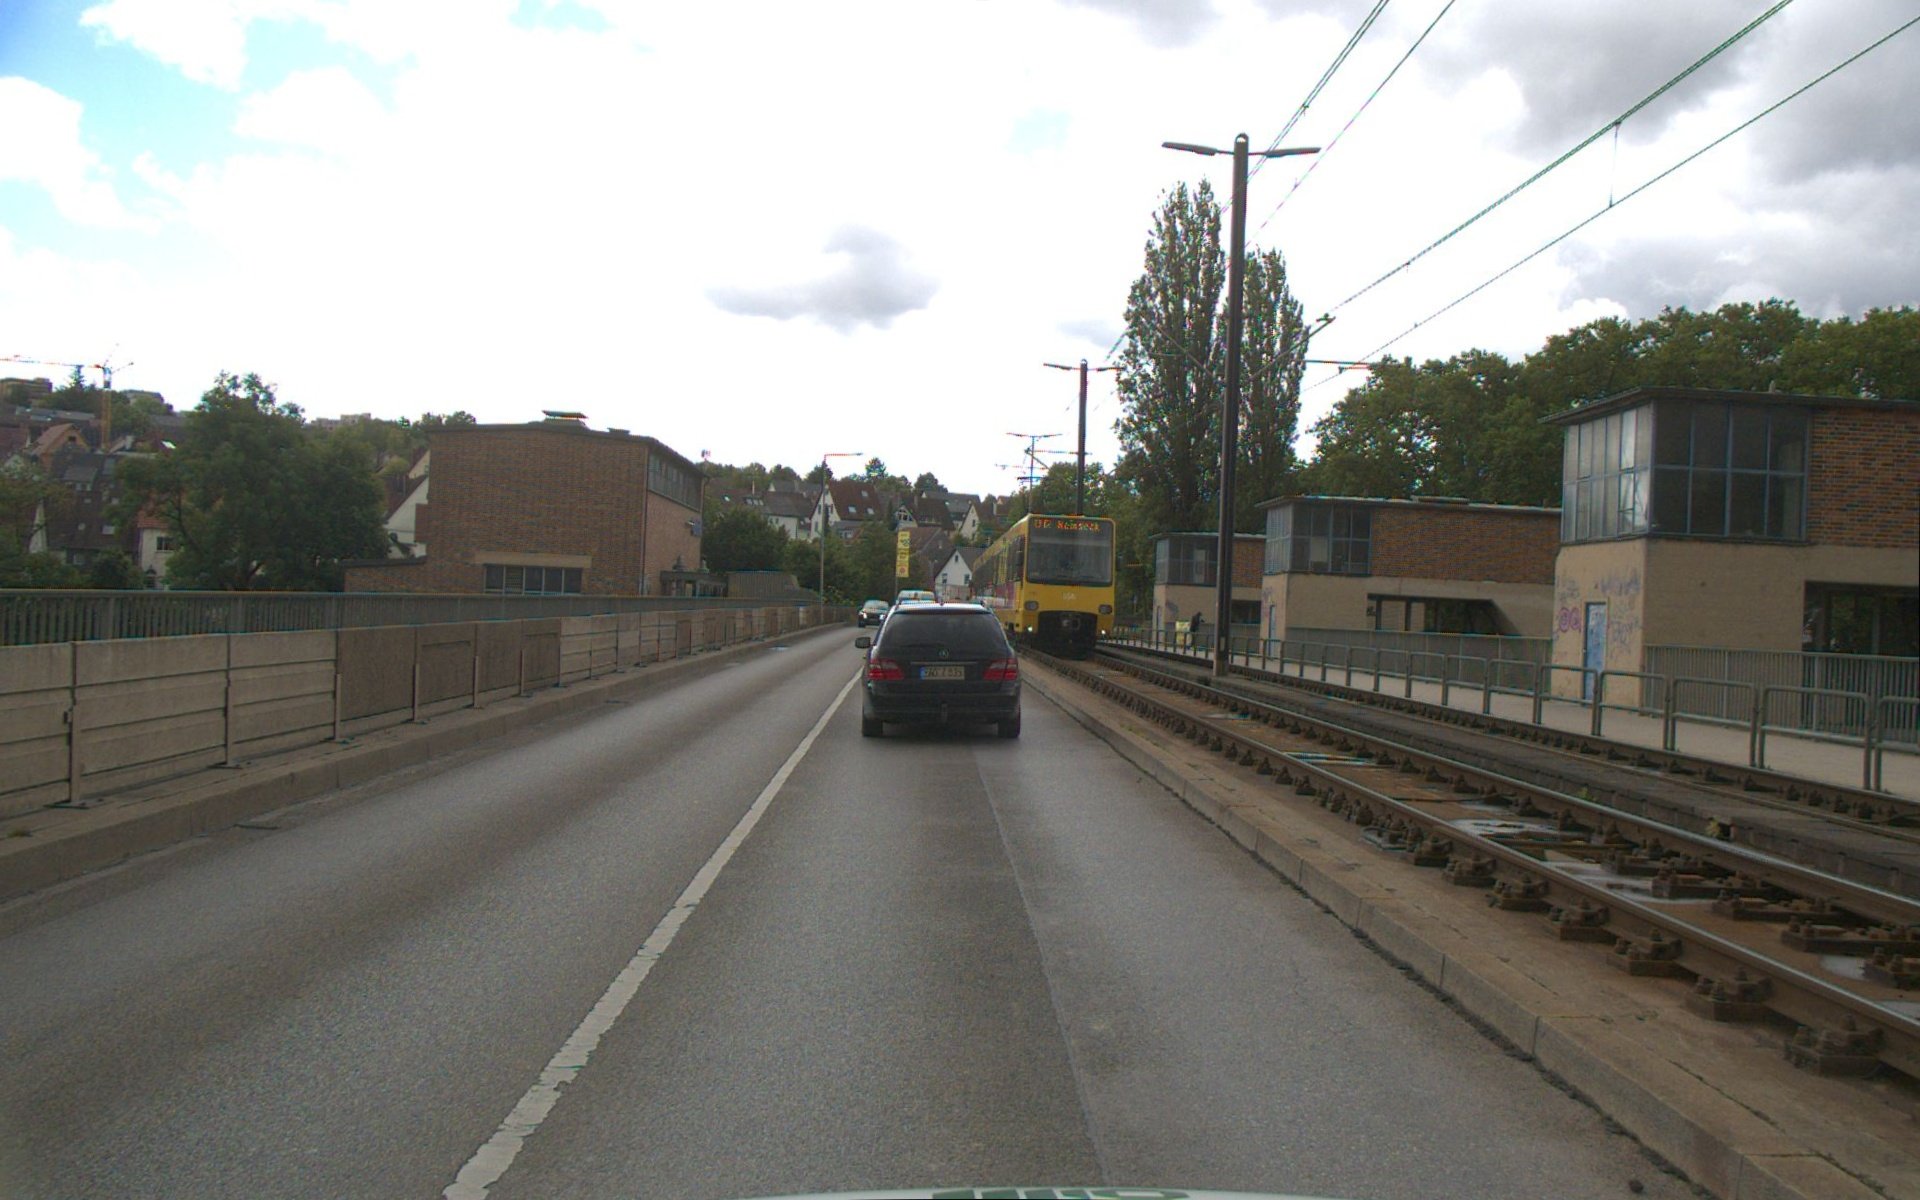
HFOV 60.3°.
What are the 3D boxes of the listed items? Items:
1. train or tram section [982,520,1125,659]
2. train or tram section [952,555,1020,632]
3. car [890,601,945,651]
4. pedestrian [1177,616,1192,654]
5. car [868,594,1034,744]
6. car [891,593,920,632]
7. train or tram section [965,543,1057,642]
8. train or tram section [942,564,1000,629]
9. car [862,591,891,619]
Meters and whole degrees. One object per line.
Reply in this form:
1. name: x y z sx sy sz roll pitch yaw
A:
1. train or tram section: 2.538 -0.287 51.884 2.824 3.571 18.659 0 0 -2
2. train or tram section: 1.215 -0.248 89.825 2.728 3.720 19.884 0 0 -2
3. car: -1.482 0.853 56.545 1.735 1.582 4.238 1 0 -3
4. pedestrian: 9.927 1.535 73.151 0.565 1.638 0.612 2 -1 -1
5. car: -0.122 0.710 19.519 1.723 1.542 4.441 1 0 -1
6. car: -3.883 0.850 118.731 1.992 2.606 7.005 1 0 -2
7. train or tram section: 1.914 -0.298 70.578 2.773 3.643 18.659 0 0 -2
8. train or tram section: 0.537 -0.127 109.706 2.737 3.830 19.881 2 -1 -2
9. car: -5.063 0.270 100.128 1.681 1.674 3.999 0 0 -2
